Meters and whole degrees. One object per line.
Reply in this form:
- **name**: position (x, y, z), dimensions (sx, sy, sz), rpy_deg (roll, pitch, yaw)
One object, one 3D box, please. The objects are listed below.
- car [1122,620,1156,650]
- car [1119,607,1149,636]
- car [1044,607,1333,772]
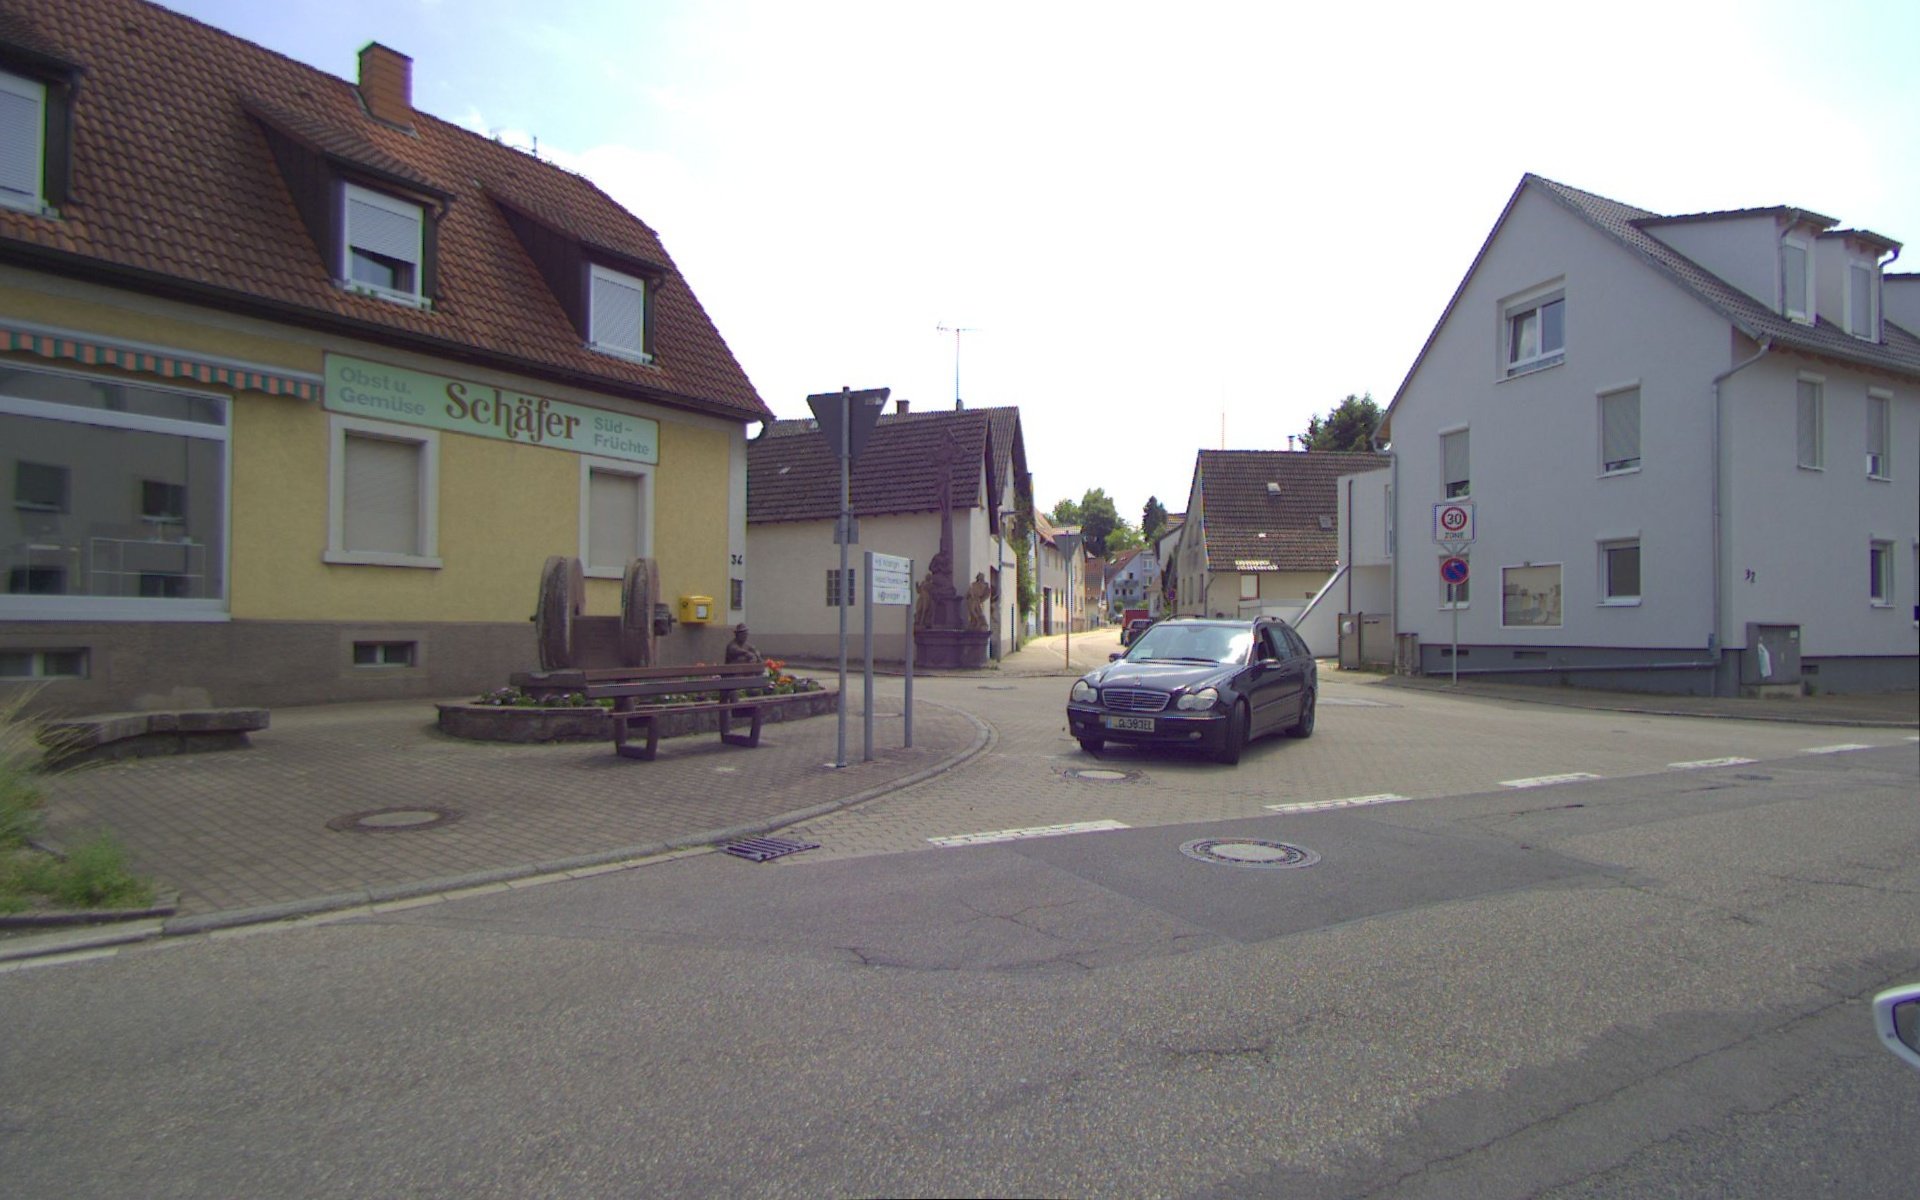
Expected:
- **car**: position (9.819, 1.921, 55.257), dimensions (1.461, 1.550, 3.478), rpy_deg (2, -2, 4)
- **car**: position (10.499, 1.342, 60.755), dimensions (1.369, 1.656, 3.478), rpy_deg (2, -2, 4)
- **car**: position (2.805, 0.900, 11.357), dimensions (1.782, 1.430, 4.627), rpy_deg (1, -2, 31)
